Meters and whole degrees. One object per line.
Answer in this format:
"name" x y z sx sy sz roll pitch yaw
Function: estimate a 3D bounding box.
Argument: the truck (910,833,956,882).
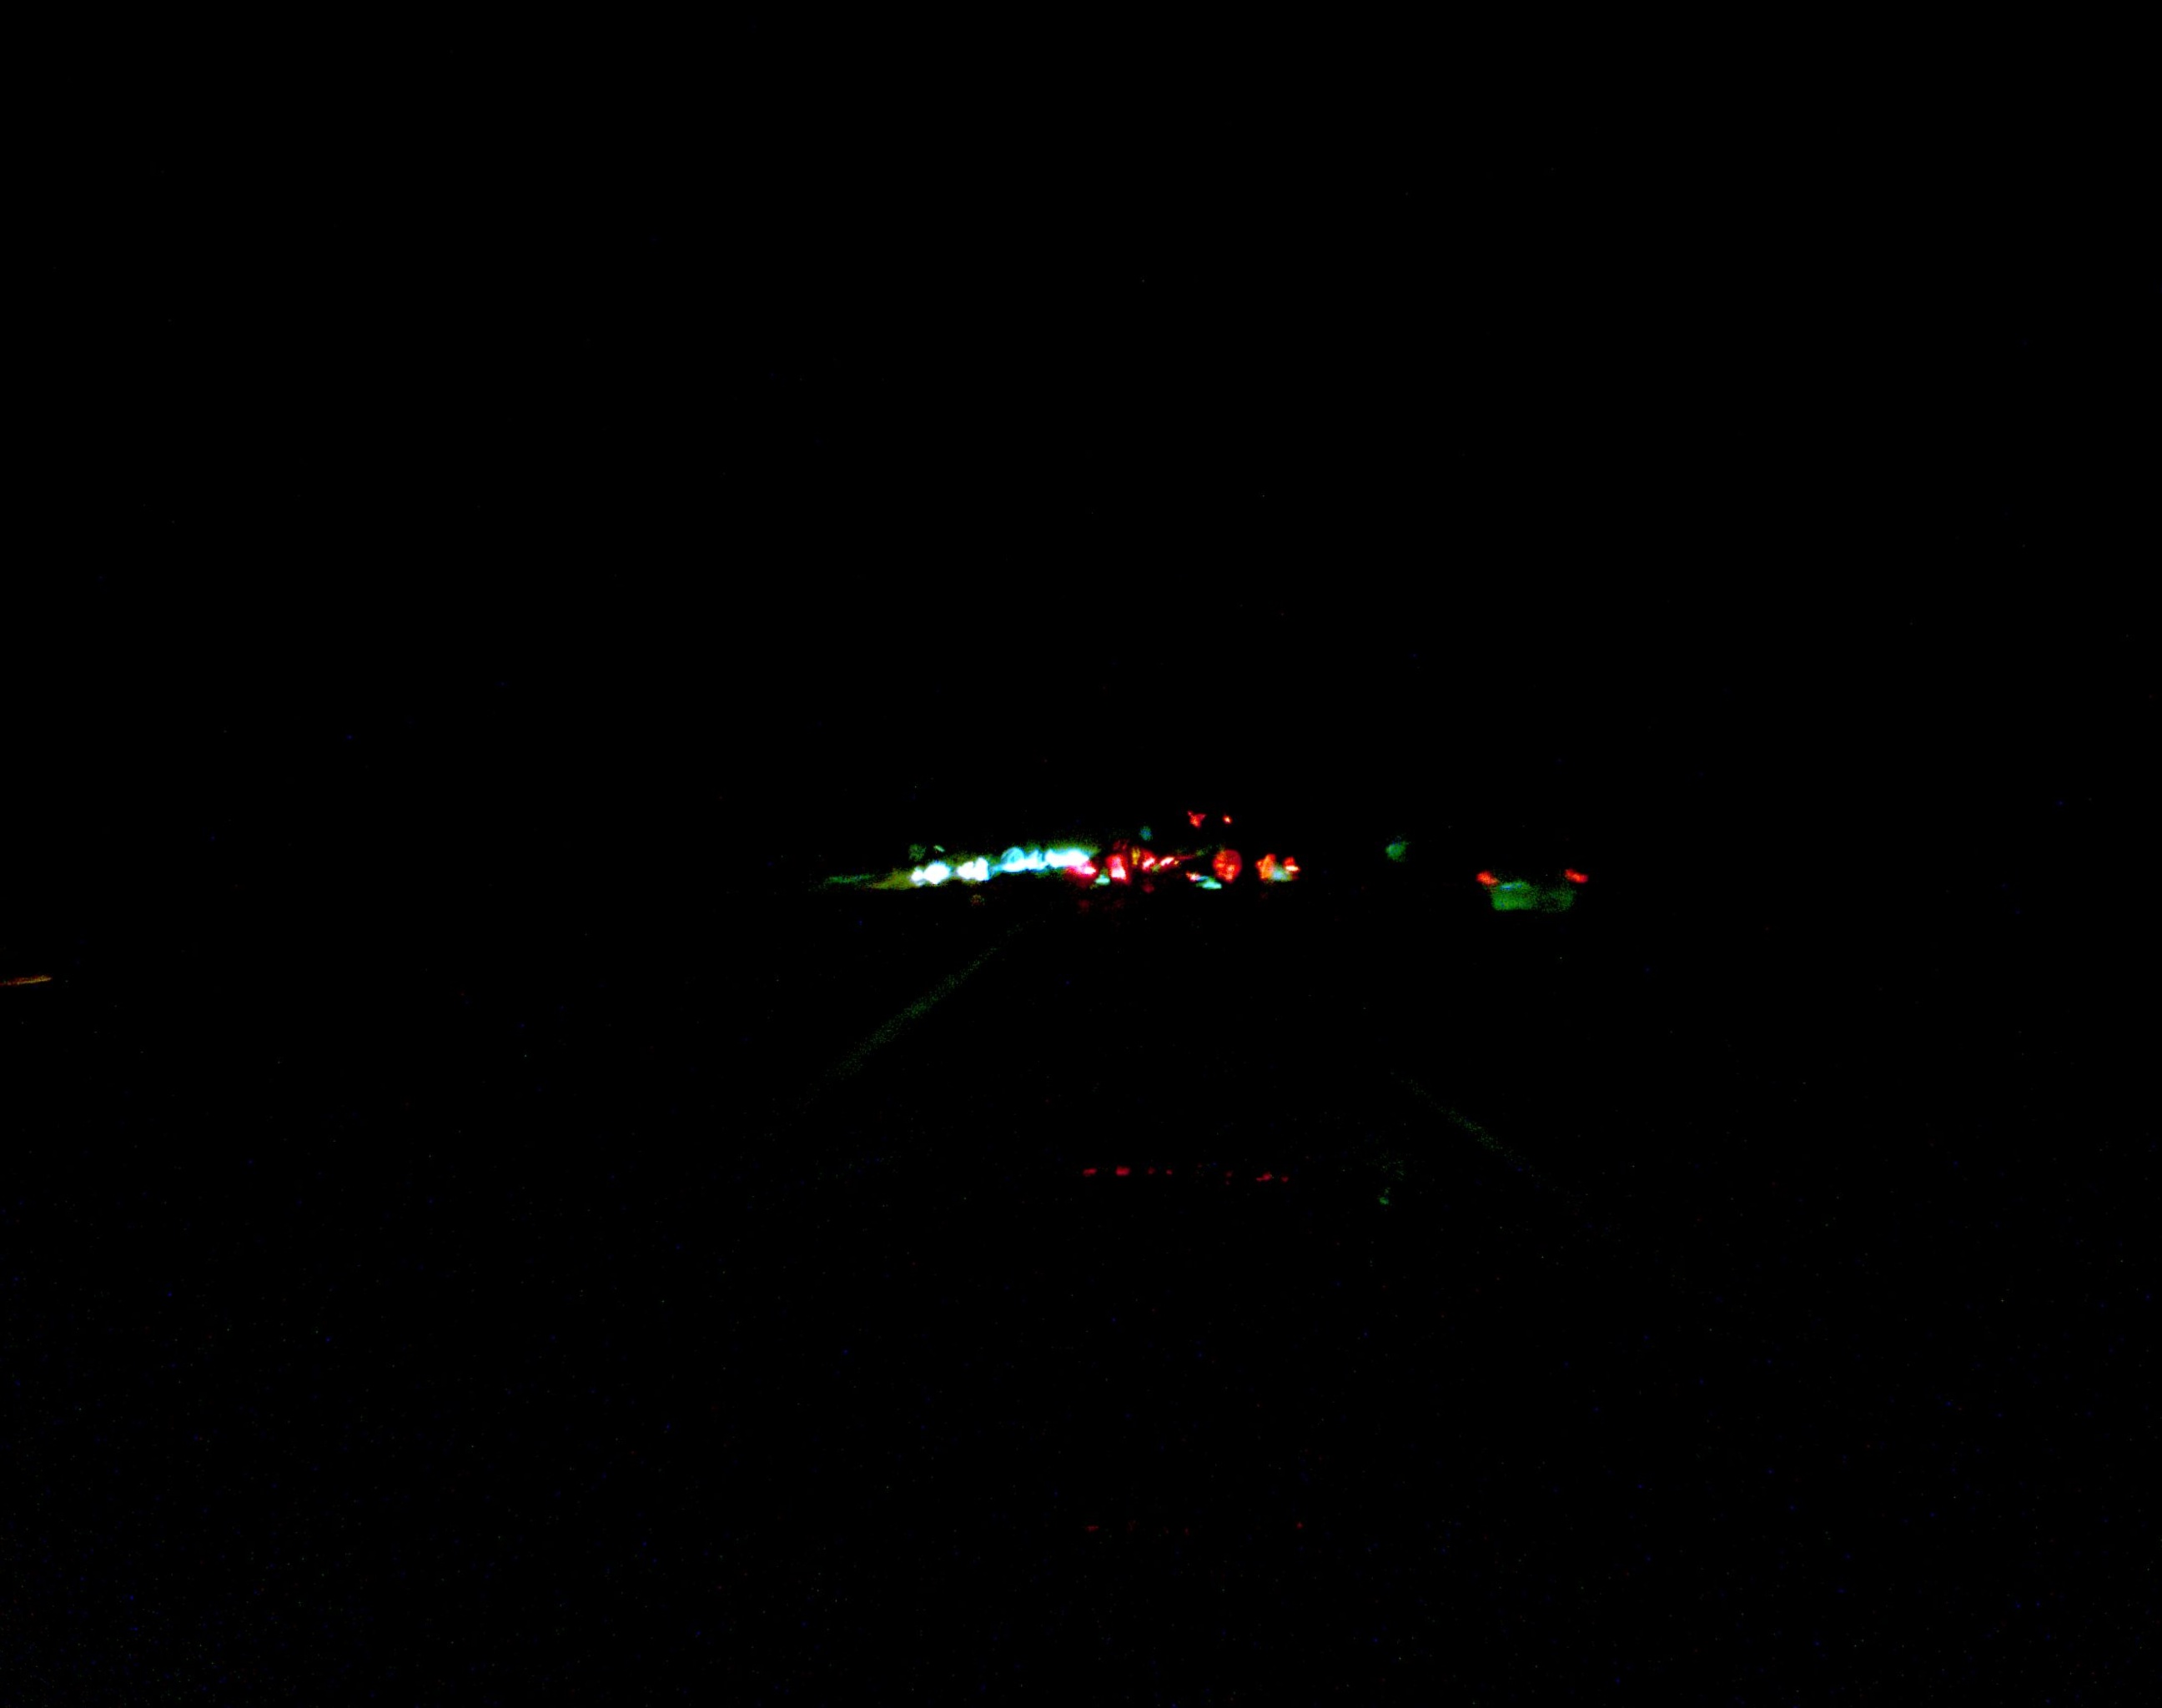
"truck" -13.884 0.270 76.932 2.875 4.334 6.749 -1 1 2

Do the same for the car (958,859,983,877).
"car" -10.666 1.341 78.645 1.672 1.597 4.349 -3 0 1

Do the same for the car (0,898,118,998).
"car" -22.592 1.965 15.709 2.205 1.893 4.791 -3 0 2

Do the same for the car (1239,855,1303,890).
"car" 8.817 0.801 38.161 1.887 1.486 4.962 0 0 1

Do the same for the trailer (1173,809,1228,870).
"trailer" 9.113 -1.004 63.538 2.793 4.212 12.101 -1 0 2

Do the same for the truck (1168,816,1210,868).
"truck" 9.330 -0.946 71.009 2.793 4.267 7.450 -1 0 2

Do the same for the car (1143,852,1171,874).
"car" 5.716 0.666 61.816 1.877 1.588 4.001 -1 0 2

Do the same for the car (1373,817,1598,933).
"car" 8.122 0.363 17.099 2.039 1.974 5.407 -2 0 1

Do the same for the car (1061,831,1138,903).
"car" 0.721 0.475 33.017 2.701 2.534 5.831 -3 0 0

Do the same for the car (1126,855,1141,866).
"car" 7.756 0.920 120.952 2.128 1.618 4.003 0 -1 3

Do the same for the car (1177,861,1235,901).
"car" 4.636 0.970 30.645 1.607 1.412 3.792 -1 0 1

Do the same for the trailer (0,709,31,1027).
"trailer" -16.318 0.260 4.043 3.037 4.293 14.414 -3 0 2

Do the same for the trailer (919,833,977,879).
"trailer" -13.604 0.093 84.748 2.875 4.304 15.726 -1 1 2
